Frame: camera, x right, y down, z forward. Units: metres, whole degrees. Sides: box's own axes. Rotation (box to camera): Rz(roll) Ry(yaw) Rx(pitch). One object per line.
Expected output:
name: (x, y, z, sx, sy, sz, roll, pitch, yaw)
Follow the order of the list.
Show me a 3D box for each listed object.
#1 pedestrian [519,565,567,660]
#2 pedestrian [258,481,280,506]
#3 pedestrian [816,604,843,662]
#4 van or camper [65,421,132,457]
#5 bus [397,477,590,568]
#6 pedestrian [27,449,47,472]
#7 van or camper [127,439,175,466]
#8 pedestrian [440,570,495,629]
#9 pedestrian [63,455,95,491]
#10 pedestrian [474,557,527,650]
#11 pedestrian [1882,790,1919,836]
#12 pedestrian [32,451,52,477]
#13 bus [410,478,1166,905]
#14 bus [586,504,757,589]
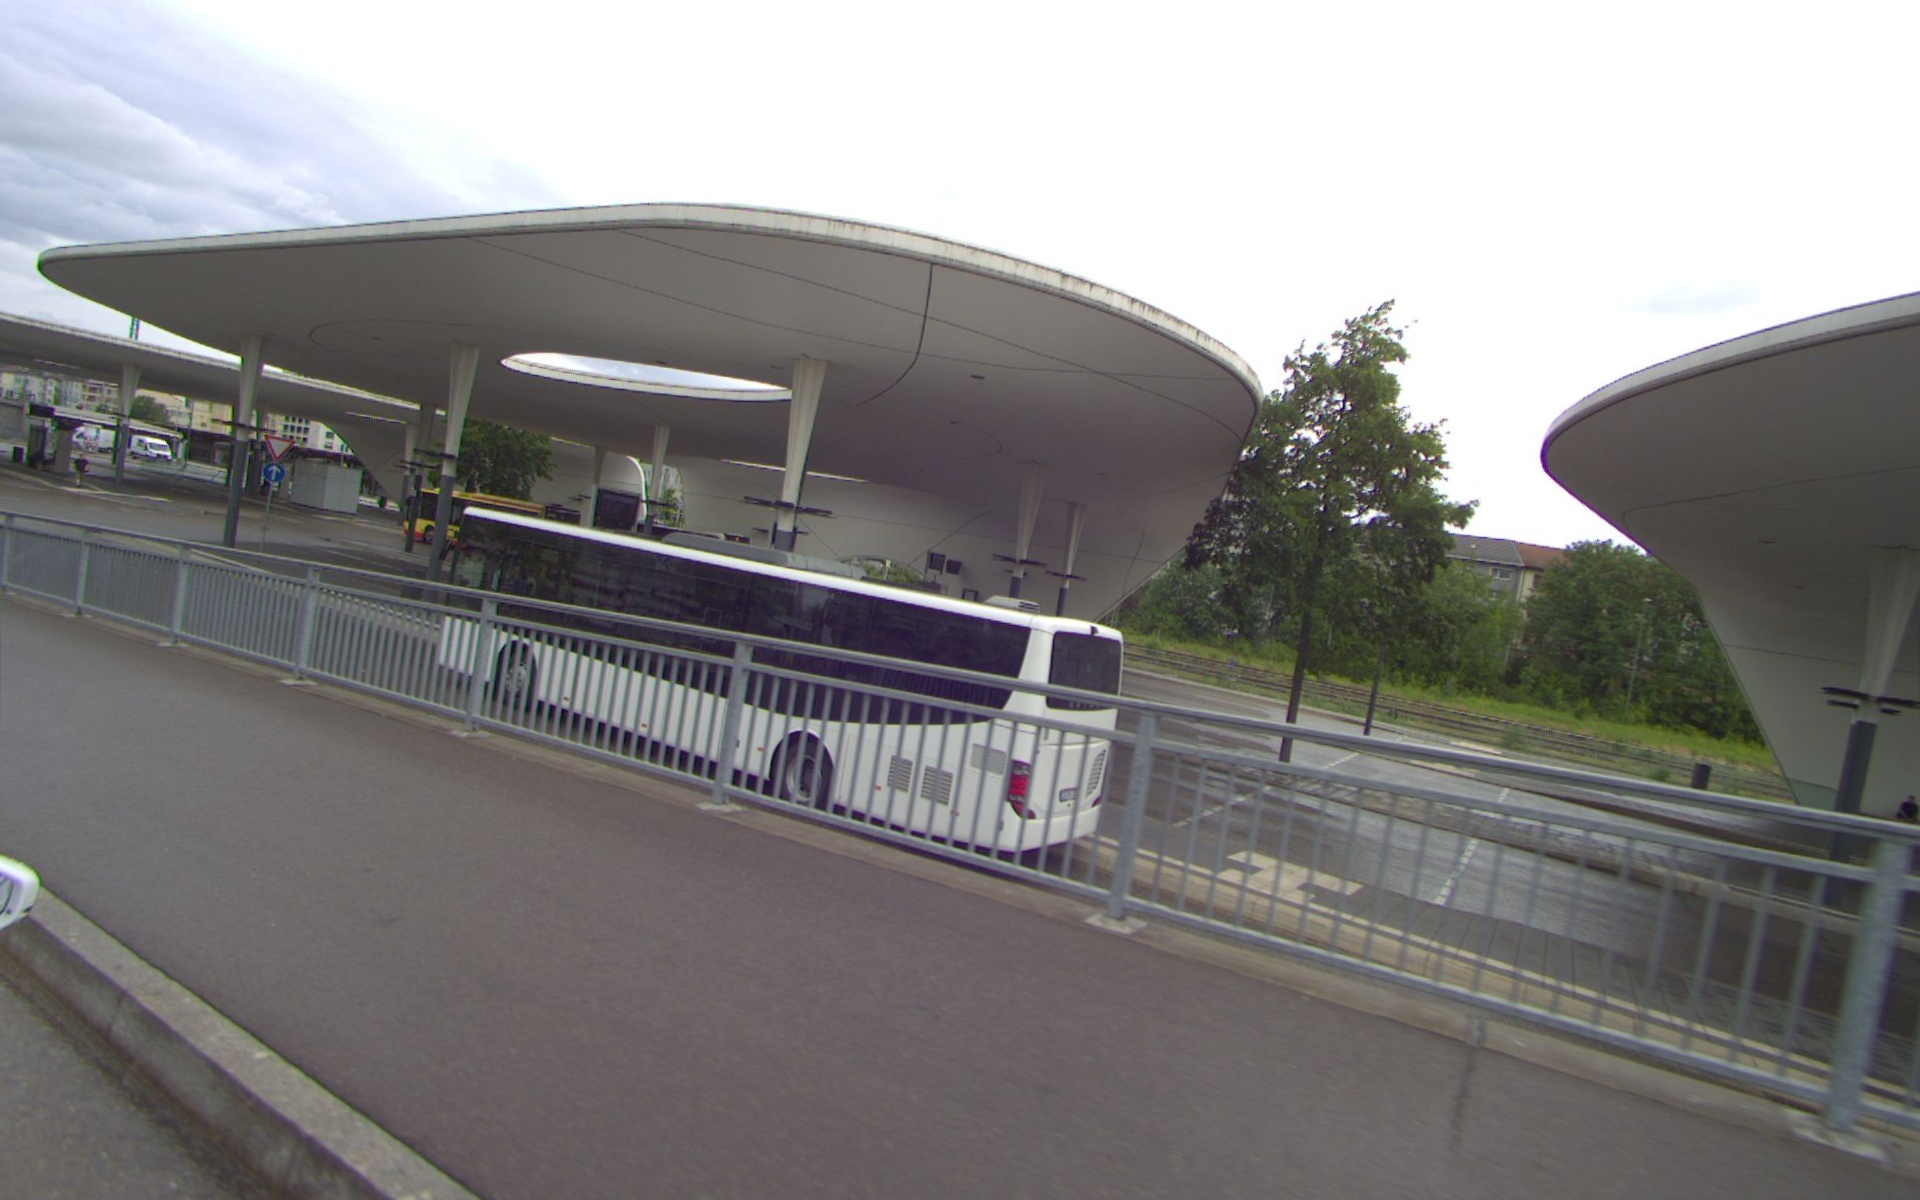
pedestrian: (-9.102, 0.266, 21.959, 0.638, 1.931, 0.584, 8, 6, -6)
pedestrian: (-49.807, -7.692, 72.491, 0.892, 1.605, 0.796, 9, 1, 26)
pedestrian: (-4.063, 1.028, 31.350, 0.629, 1.677, 0.641, 8, 4, -8)
van or camper: (-89.582, -16.762, 104.637, 2.083, 2.587, 4.617, 9, -1, 31)
bus: (-24.801, -4.150, 53.068, 11.935, 3.300, 2.791, 9, 3, 31)
pedestrian: (-56.526, -8.530, 61.614, 0.789, 1.243, 0.626, 5, 5, -40)
van or camper: (-83.147, -15.167, 103.364, 5.389, 2.128, 1.997, 8, -1, 32)
pedestrian: (-11.795, -0.022, 24.109, 0.637, 1.273, 0.951, 10, 6, 8)
pedestrian: (-45.913, -6.627, 52.421, 1.002, 1.707, 0.718, 8, 5, 6)
pedestrian: (-9.942, 0.068, 21.784, 0.638, 1.910, 0.584, 10, 3, -11)
pedestrian: (30.878, 6.990, 33.047, 0.701, 1.340, 0.799, 6, -2, 37)
pedestrian: (-55.049, -8.161, 60.332, 0.789, 1.396, 0.626, 5, 5, -40)
bus: (-3.397, 0.767, 15.370, 12.218, 3.401, 2.851, 12, 1, 32)
bus: (-17.498, -3.302, 60.365, 11.771, 3.302, 2.466, 11, 5, 32)
